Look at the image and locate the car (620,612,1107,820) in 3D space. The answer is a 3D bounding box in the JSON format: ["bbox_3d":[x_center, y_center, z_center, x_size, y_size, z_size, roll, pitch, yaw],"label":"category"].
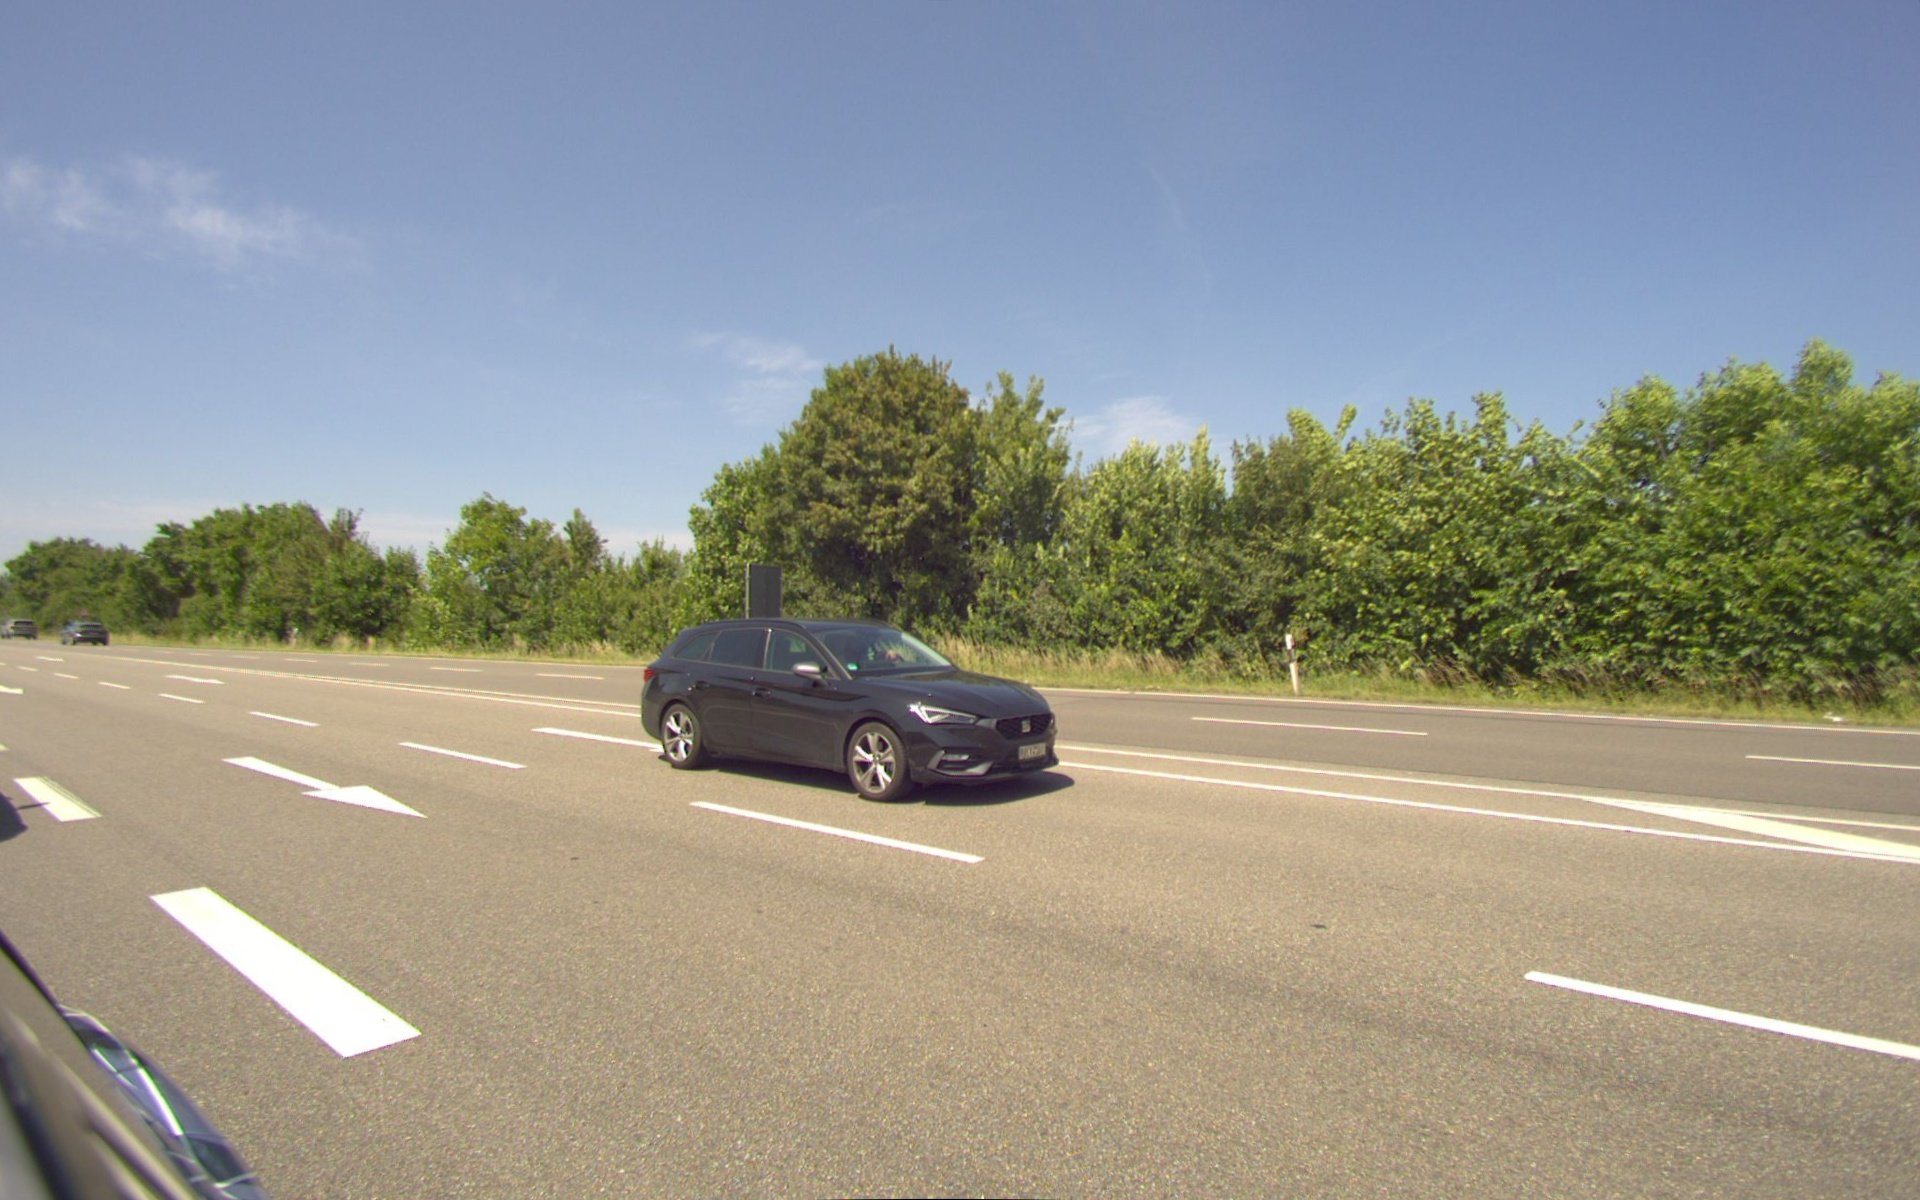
[{"bbox_3d":[-1.072,0.869,9.351,4.522,1.458,1.870,-1,-1,40],"label":"car"}]

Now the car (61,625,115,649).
[{"bbox_3d":[-55.713,2.349,64.616,4.526,1.409,1.860,-1,-1,39],"label":"car"}]

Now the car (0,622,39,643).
[{"bbox_3d":[-77.683,2.666,83.326,4.563,1.652,2.008,-1,-1,39],"label":"car"}]
